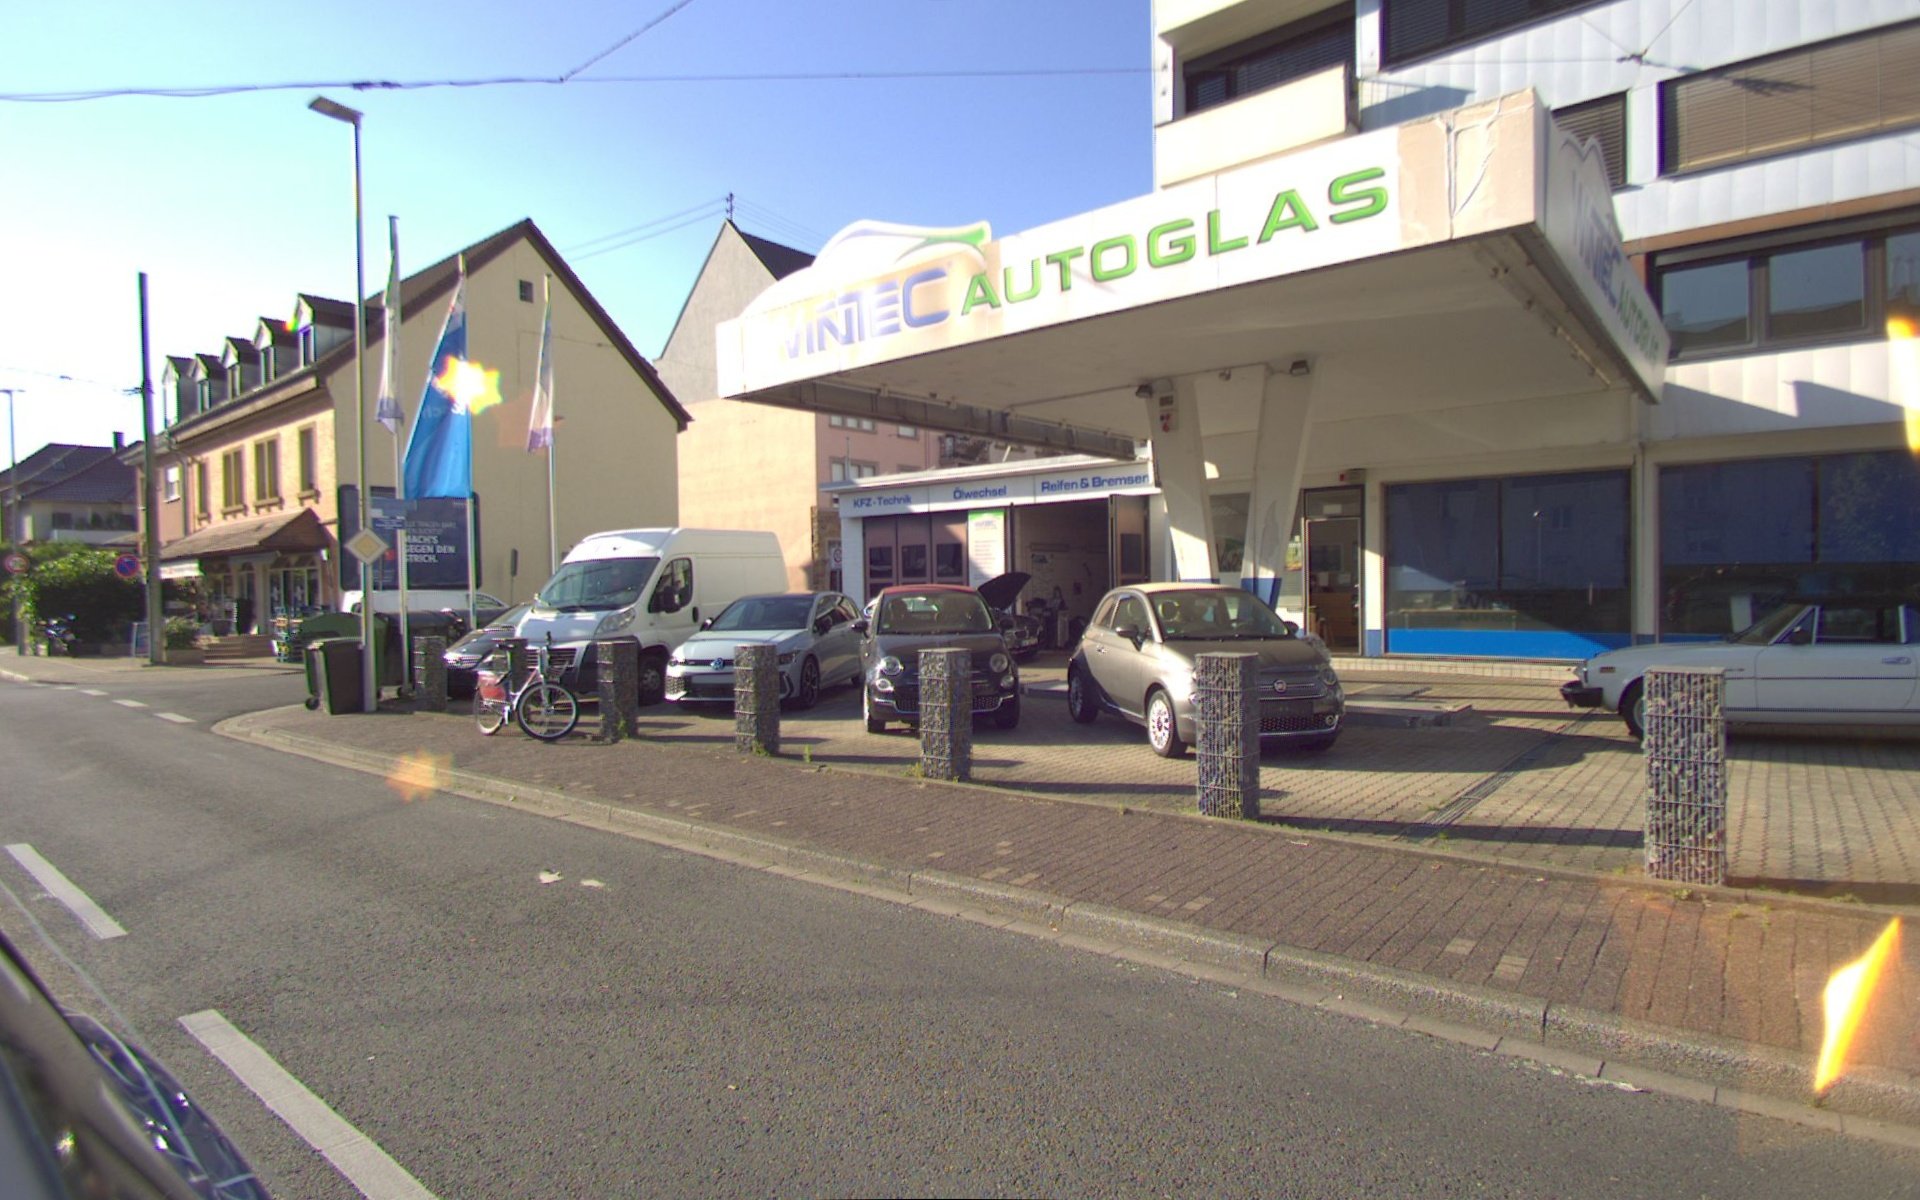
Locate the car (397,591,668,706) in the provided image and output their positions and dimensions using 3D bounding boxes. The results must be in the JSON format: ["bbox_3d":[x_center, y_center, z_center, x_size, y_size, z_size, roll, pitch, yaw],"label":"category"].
[{"bbox_3d":[-6.945,0.712,16.892,1.763,1.580,3.966,-2,1,26],"label":"car"}]

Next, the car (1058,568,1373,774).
[{"bbox_3d":[2.216,0.537,9.726,1.595,1.580,3.402,-1,1,-11],"label":"car"}]

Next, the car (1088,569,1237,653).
[{"bbox_3d":[4.852,0.201,23.766,1.769,1.722,4.263,-2,1,36],"label":"car"}]

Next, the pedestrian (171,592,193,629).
[{"bbox_3d":[-26.889,0.348,34.980,0.465,1.268,0.517,-1,0,42],"label":"pedestrian"}]

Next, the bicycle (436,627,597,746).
[{"bbox_3d":[-4.869,0.905,11.083,1.774,1.186,0.718,-1,0,31],"label":"bicycle"}]

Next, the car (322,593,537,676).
[{"bbox_3d":[-13.781,0.825,26.530,1.997,1.947,4.571,-1,0,38],"label":"car"}]

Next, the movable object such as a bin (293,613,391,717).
[{"bbox_3d":[-9.670,1.006,15.894,1.040,1.494,1.316,-3,-2,-21],"label":"movable object such as a bin"}]

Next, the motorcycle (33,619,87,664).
[{"bbox_3d":[-27.994,1.275,31.475,2.229,1.292,0.831,0,2,37],"label":"motorcycle"}]

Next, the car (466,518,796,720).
[{"bbox_3d":[-4.591,0.195,15.167,2.091,2.488,5.042,-1,1,18],"label":"car"}]

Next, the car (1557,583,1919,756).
[{"bbox_3d":[7.499,0.533,8.484,4.131,1.294,1.572,-2,-1,37],"label":"car"}]

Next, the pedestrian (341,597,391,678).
[{"bbox_3d":[-14.147,0.882,24.102,0.820,1.882,0.784,-1,0,43],"label":"pedestrian"}]

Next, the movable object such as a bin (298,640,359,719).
[{"bbox_3d":[-9.243,1.150,14.811,0.652,1.070,0.586,-4,0,-38],"label":"movable object such as a bin"}]

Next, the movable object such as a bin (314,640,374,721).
[{"bbox_3d":[-8.765,1.132,14.392,0.631,1.077,0.581,-2,-2,-38],"label":"movable object such as a bin"}]

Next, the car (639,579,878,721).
[{"bbox_3d":[-2.495,0.546,13.588,1.754,1.580,3.987,-2,1,11],"label":"car"}]

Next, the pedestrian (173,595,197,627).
[{"bbox_3d":[-26.069,0.356,34.035,0.381,1.055,0.521,-1,0,24],"label":"pedestrian"}]

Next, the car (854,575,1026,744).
[{"bbox_3d":[-0.362,0.551,11.430,1.597,1.580,3.399,-1,1,-6],"label":"car"}]

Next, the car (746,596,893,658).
[{"bbox_3d":[-4.066,0.730,29.772,1.999,1.536,3.947,4,4,40],"label":"car"}]

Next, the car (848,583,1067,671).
[{"bbox_3d":[-0.131,0.528,20.666,4.311,1.580,1.750,-2,1,39],"label":"car"}]
